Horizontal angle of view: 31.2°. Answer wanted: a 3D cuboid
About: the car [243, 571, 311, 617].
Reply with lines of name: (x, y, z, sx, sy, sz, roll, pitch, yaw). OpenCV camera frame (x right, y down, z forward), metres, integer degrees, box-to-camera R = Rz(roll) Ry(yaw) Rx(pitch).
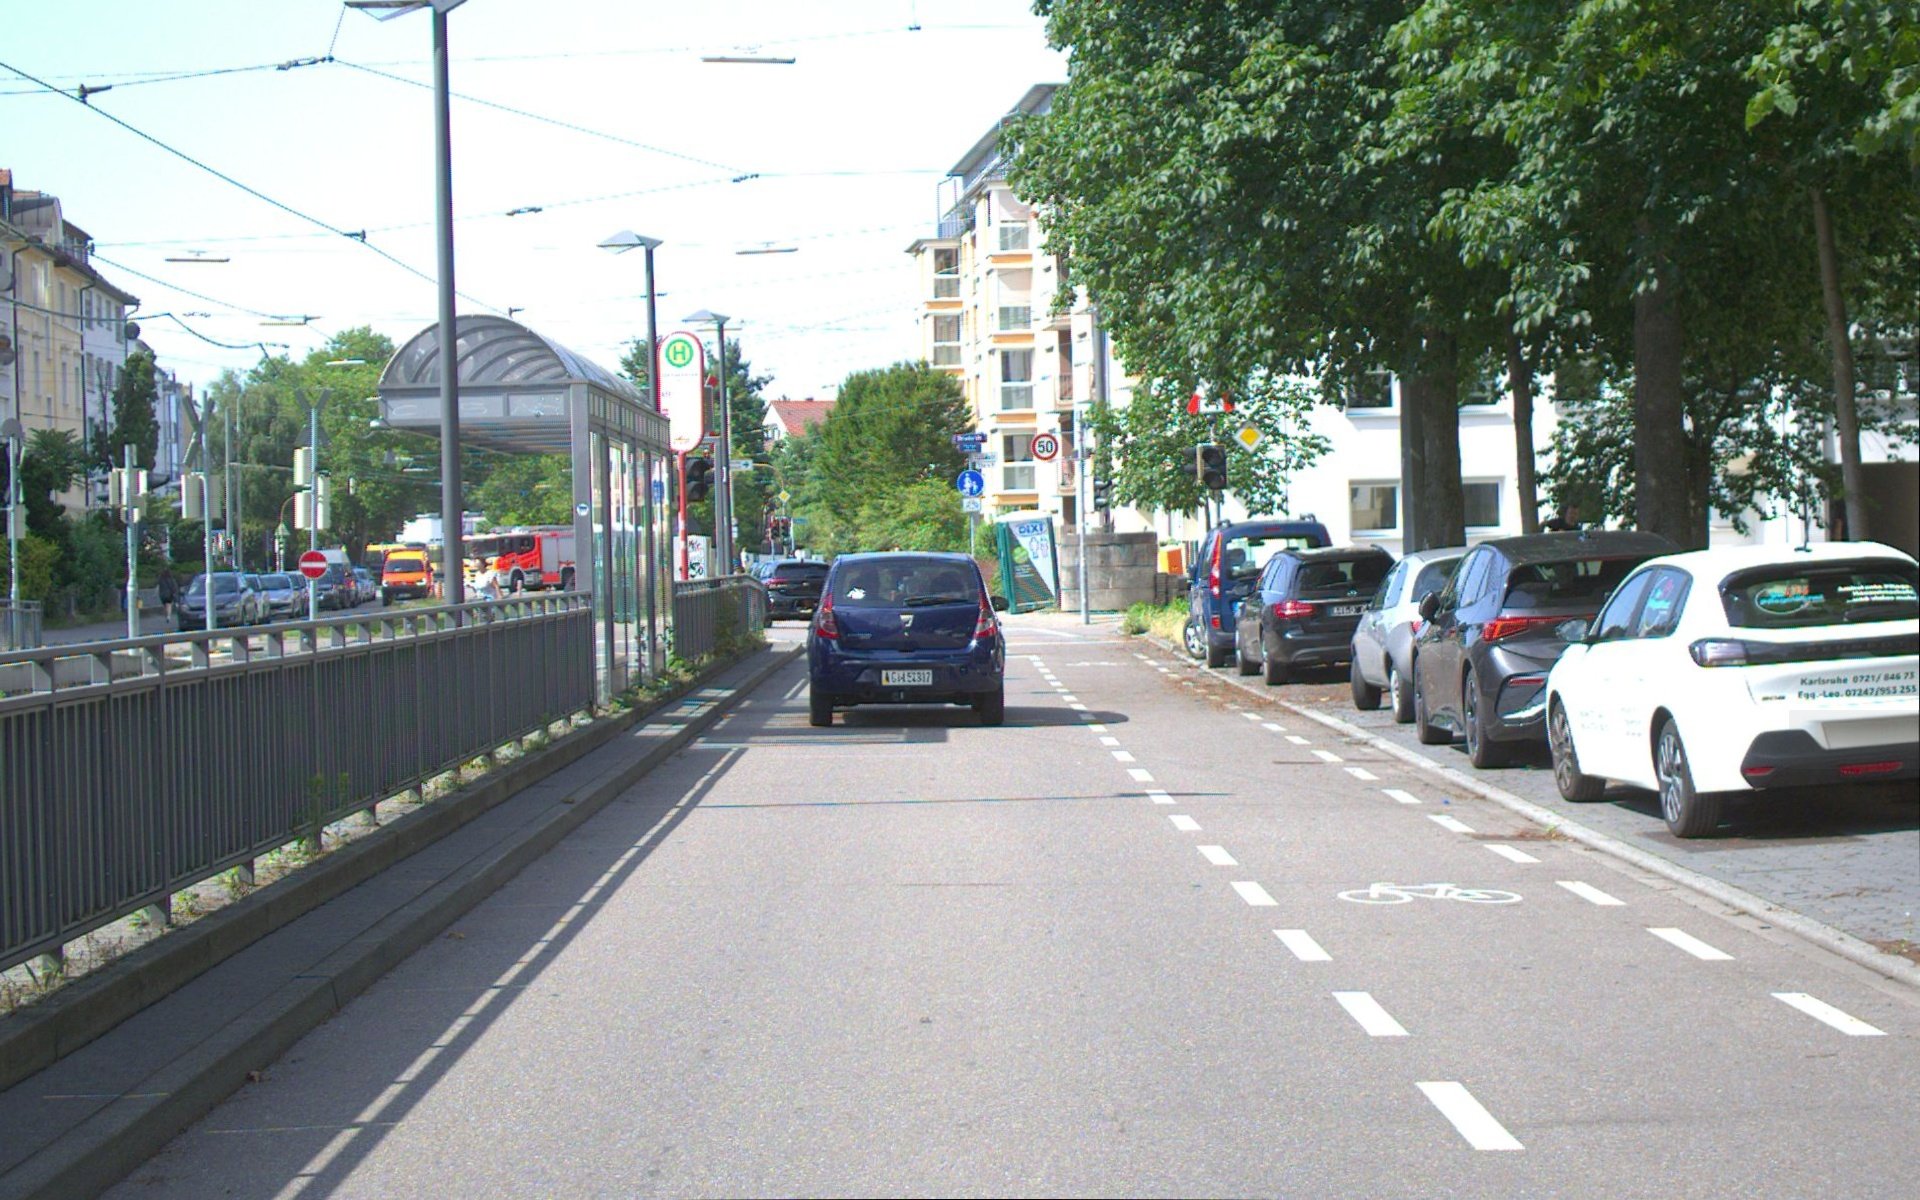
car: (-21.815, -0.210, 109.879, 1.768, 1.437, 4.001, 0, 0, -6)

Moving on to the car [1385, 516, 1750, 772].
car: (4.220, 0.242, 24.588, 1.725, 1.578, 4.677, -3, 1, 0)

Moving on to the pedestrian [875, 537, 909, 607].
pedestrian: (-1.807, -0.738, 91.039, 0.701, 1.783, 1.030, -4, 1, -6)

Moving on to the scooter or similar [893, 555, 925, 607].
scooter or similar: (-1.349, -0.501, 90.182, 0.662, 1.299, 0.869, -5, 1, -6)

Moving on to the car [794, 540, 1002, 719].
car: (-0.559, 0.237, 30.962, 1.744, 1.502, 4.000, 0, 0, -1)

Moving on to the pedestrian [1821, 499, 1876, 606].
pedestrian: (13.501, -0.719, 52.227, 0.631, 1.590, 0.540, -2, 0, -3)

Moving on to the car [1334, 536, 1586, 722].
car: (4.301, 0.219, 30.000, 1.590, 1.440, 3.598, -3, 1, 0)

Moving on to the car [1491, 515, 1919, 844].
car: (4.327, 0.348, 18.989, 1.835, 1.518, 4.254, -4, 1, -3)

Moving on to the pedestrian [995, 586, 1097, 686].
pedestrian: (1.752, 0.715, 71.210, 1.993, 2.007, 4.000, 0, 0, 0)

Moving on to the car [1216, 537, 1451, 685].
car: (4.158, 0.075, 39.002, 1.917, 1.437, 4.797, -4, 1, -2)

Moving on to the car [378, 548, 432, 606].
car: (-22.840, -0.975, 141.384, 1.993, 2.267, 4.835, 2, 1, -10)

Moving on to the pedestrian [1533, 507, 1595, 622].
pedestrian: (9.046, -0.530, 51.515, 0.744, 1.690, 0.767, -2, 1, 0)

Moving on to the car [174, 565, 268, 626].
car: (-20.164, -0.129, 93.946, 1.993, 1.639, 4.001, 0, 0, -4)

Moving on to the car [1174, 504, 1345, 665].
car: (3.811, -0.243, 44.355, 1.823, 1.889, 4.184, -3, 1, 1)

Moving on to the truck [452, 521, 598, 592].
truck: (-21.412, -2.186, 169.580, 2.600, 3.175, 8.370, -3, 1, 29)

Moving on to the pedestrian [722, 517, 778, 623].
pedestrian: (-3.380, -0.483, 55.441, 0.845, 1.662, 0.799, -2, 0, -3)
